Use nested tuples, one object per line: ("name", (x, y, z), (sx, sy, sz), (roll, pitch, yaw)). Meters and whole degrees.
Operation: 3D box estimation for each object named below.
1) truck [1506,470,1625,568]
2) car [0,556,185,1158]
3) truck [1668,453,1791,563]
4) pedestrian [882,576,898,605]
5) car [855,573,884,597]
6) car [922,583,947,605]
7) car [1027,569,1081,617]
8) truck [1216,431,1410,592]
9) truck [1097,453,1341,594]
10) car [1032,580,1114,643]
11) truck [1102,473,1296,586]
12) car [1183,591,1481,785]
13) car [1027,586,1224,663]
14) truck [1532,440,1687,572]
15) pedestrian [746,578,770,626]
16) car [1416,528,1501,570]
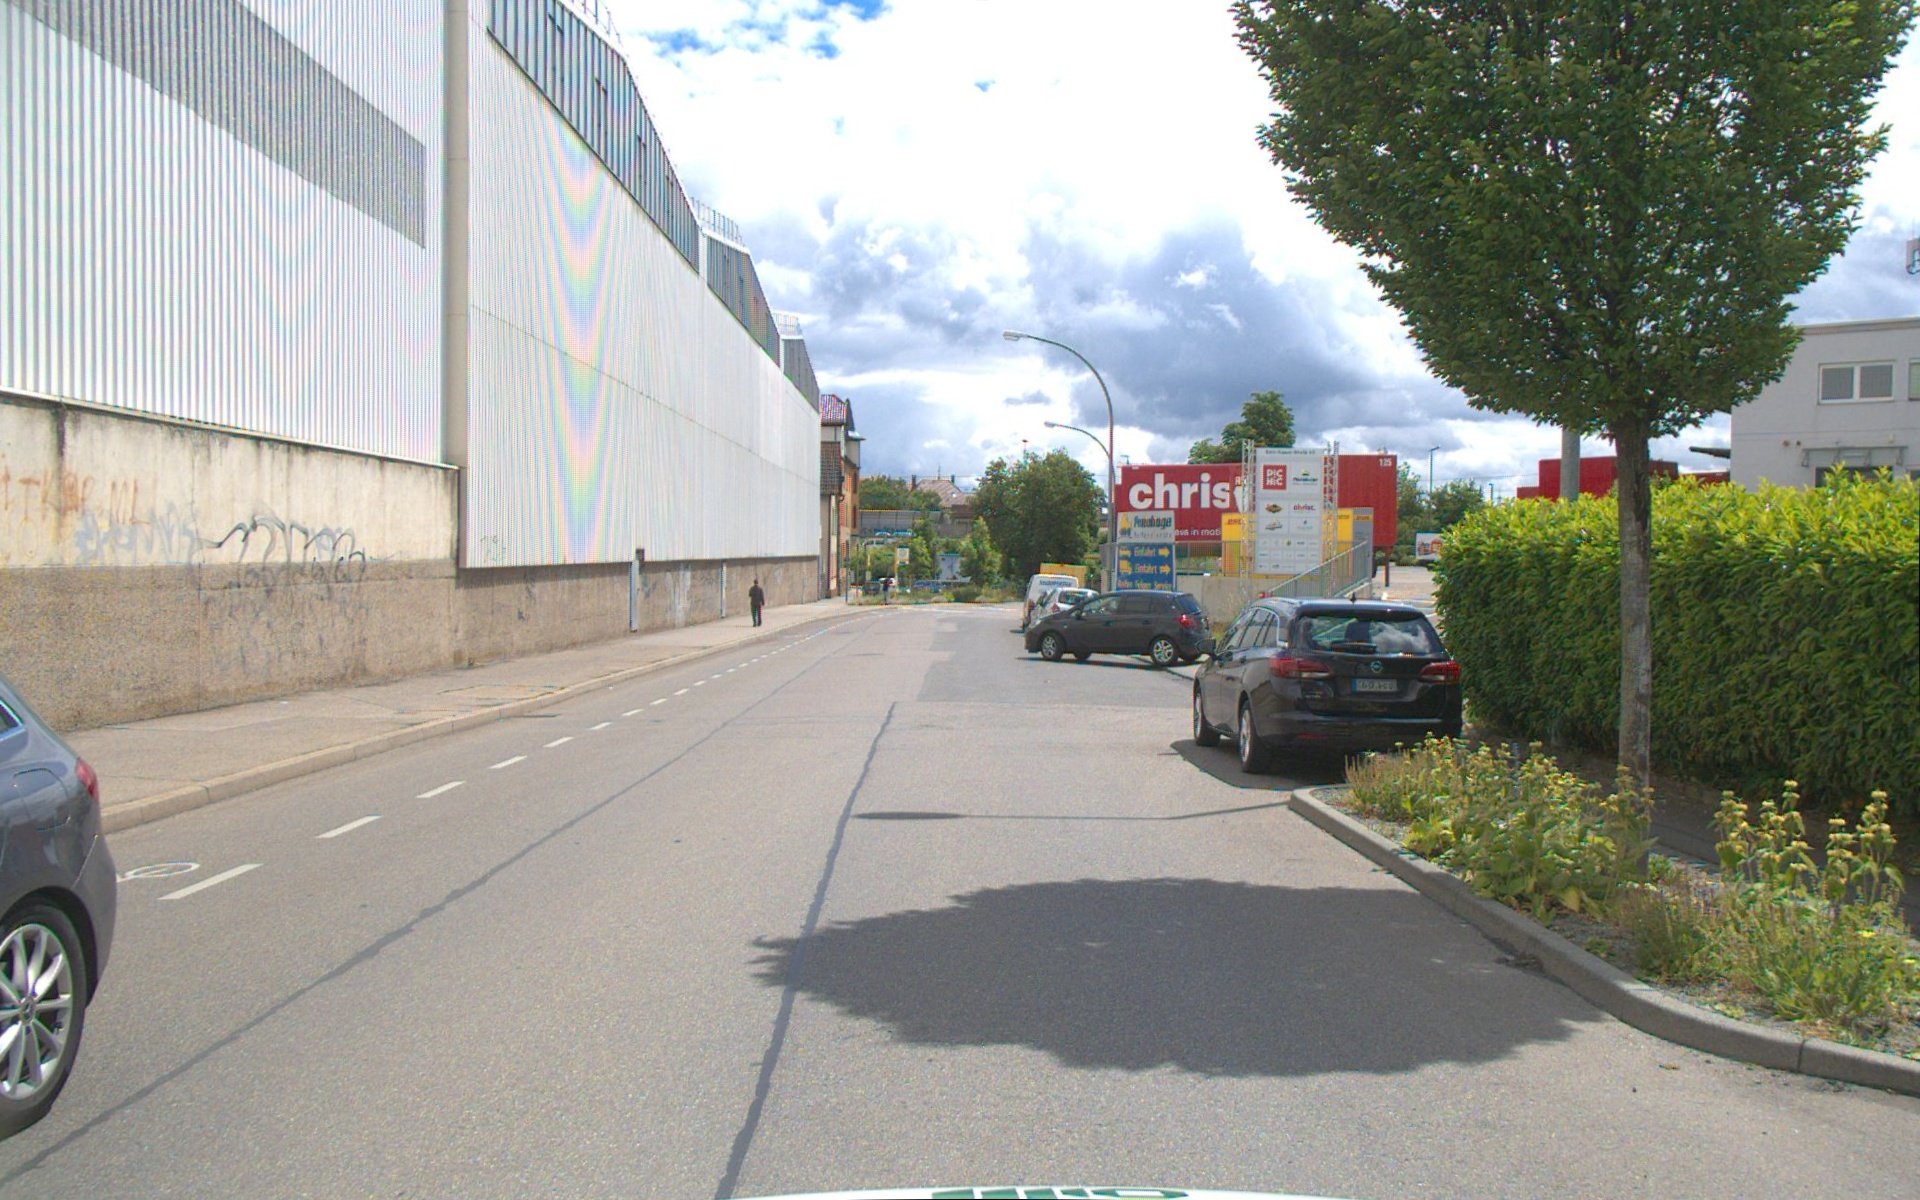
("truck", (29.313, -3.778, 79.842), (2.942, 4.130, 8.436), (-1, -2, 39))
("car", (-3.377, 0.705, 3.251), (1.684, 1.583, 4.287), (-3, 0, -1))
("truck", (33.425, -3.855, 71.627), (2.942, 4.130, 8.436), (-1, -2, 39))
("pedestrian", (-4.063, -0.548, 95.964), (0.835, 1.692, 0.860), (0, -1, 4))
("car", (-6.112, -0.982, 112.124), (1.815, 1.512, 3.999), (0, -1, -1))
("car", (-1.890, -0.438, 123.747), (1.815, 1.512, 3.999), (0, -1, -1))
("car", (3.175, -0.261, 56.253), (1.666, 1.554, 3.739), (1, 1, 1))
("truck", (11.072, -2.629, 52.726), (2.534, 4.527, 7.823), (1, -1, -17))
("truck", (9.282, -2.634, 59.370), (8.275, 4.753, 2.582), (0, -1, 21))
("car", (3.067, 0.292, 45.575), (1.668, 1.554, 3.735), (3, 1, -4))
("truck", (10.485, -3.045, 72.603), (8.269, 4.753, 2.584), (0, -1, 10))
("car", (3.232, 0.677, 15.261), (1.679, 1.499, 4.510), (0, 0, -1))
("car", (3.421, 0.473, 34.217), (3.706, 1.472, 1.705), (1, 1, 25))
("truck", (23.740, -3.252, 60.181), (2.942, 4.130, 8.436), (-1, -2, 39))
("pedestrian", (-6.991, 0.068, 57.348), (0.698, 1.666, 0.777), (0, -1, 1))
("car", (34.447, -3.515, 114.304), (5.523, 2.724, 2.000), (0, -1, 21))
